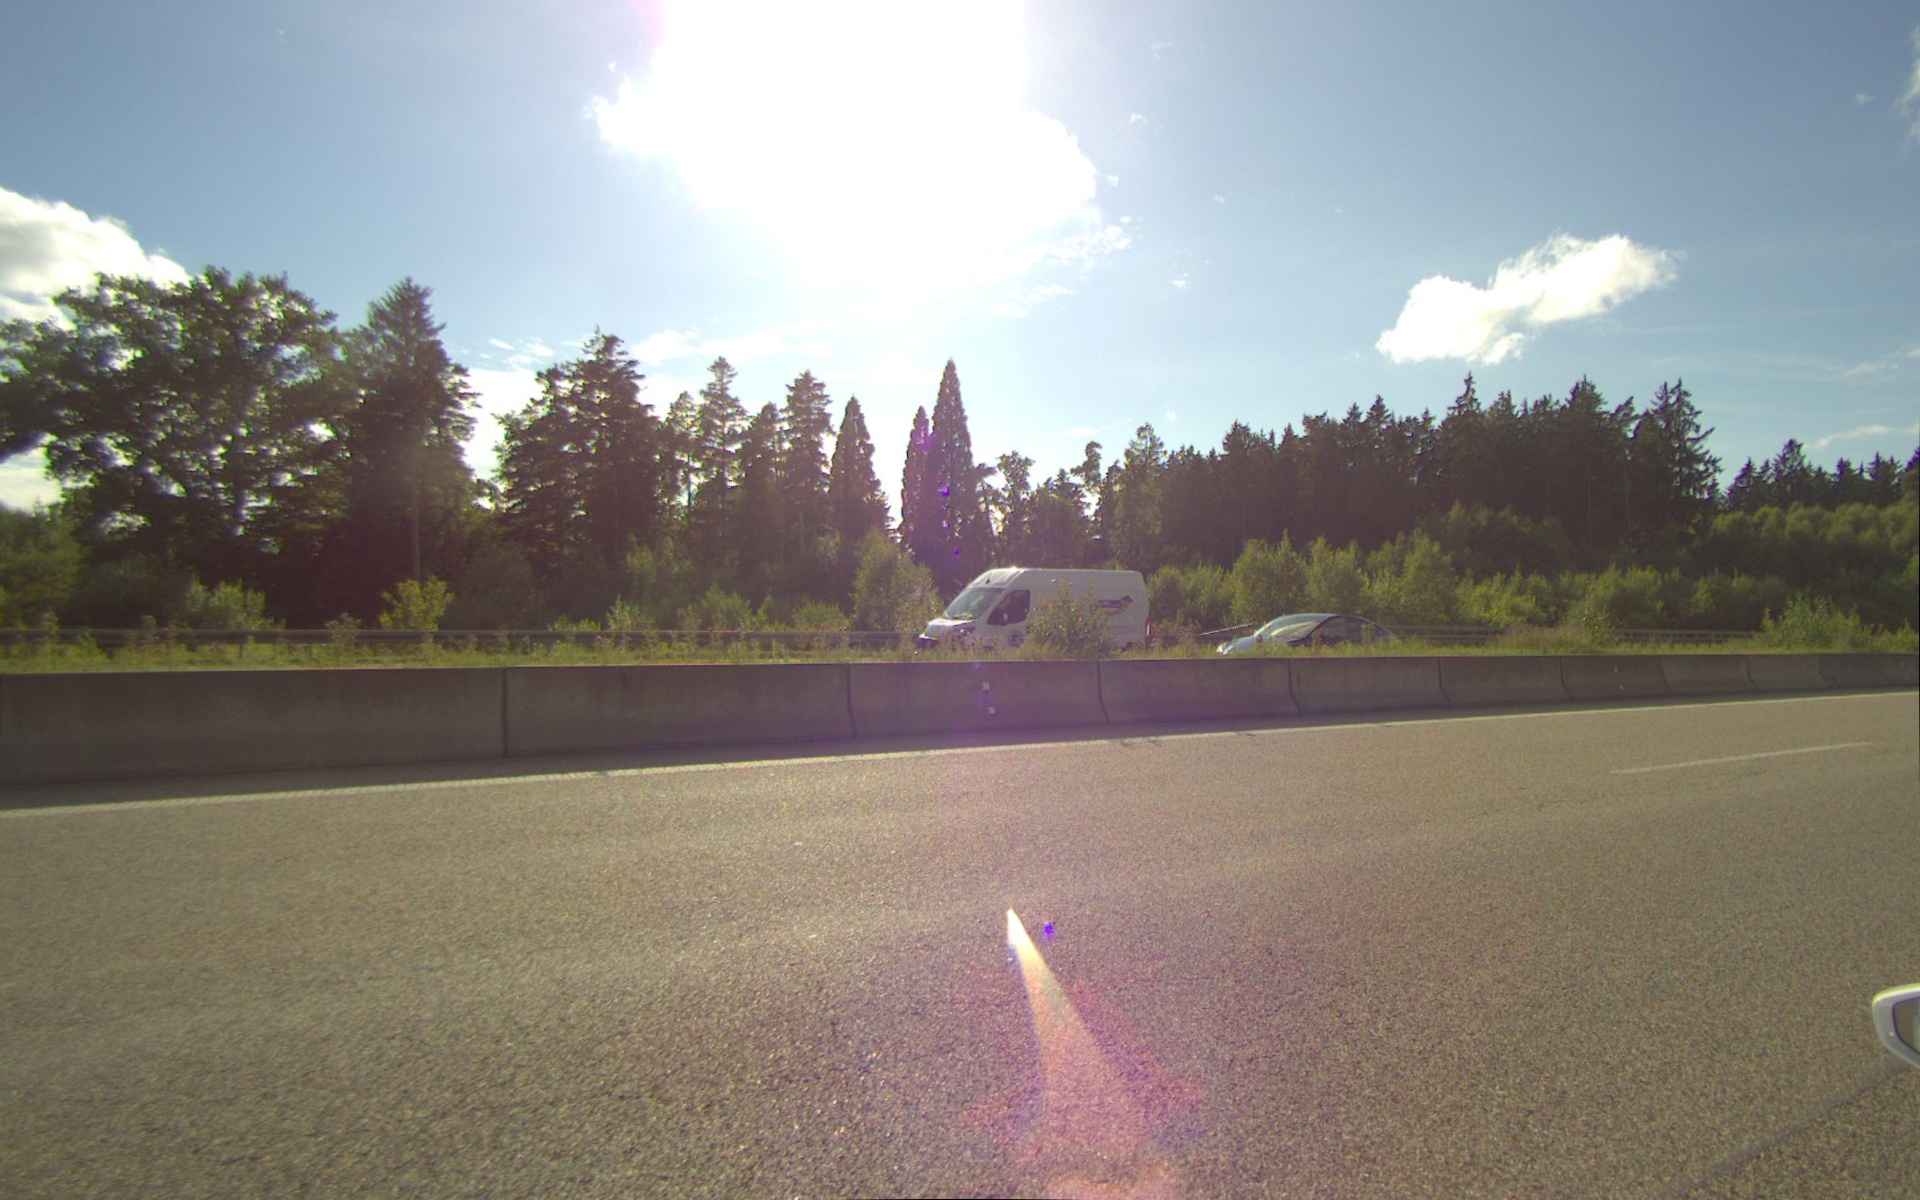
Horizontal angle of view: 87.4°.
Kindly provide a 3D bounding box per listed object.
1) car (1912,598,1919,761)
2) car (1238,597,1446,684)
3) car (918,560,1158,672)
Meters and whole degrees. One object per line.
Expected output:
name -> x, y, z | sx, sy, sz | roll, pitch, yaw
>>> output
car -> 12.574, 0.889, 11.006 | 4.477, 1.729, 1.984 | 1, 0, -31
car -> 8.475, 0.859, 22.237 | 4.270, 1.756, 2.055 | 1, 0, -30
car -> 1.820, 0.371, 22.699 | 5.142, 2.274, 2.055 | 1, 0, -30
